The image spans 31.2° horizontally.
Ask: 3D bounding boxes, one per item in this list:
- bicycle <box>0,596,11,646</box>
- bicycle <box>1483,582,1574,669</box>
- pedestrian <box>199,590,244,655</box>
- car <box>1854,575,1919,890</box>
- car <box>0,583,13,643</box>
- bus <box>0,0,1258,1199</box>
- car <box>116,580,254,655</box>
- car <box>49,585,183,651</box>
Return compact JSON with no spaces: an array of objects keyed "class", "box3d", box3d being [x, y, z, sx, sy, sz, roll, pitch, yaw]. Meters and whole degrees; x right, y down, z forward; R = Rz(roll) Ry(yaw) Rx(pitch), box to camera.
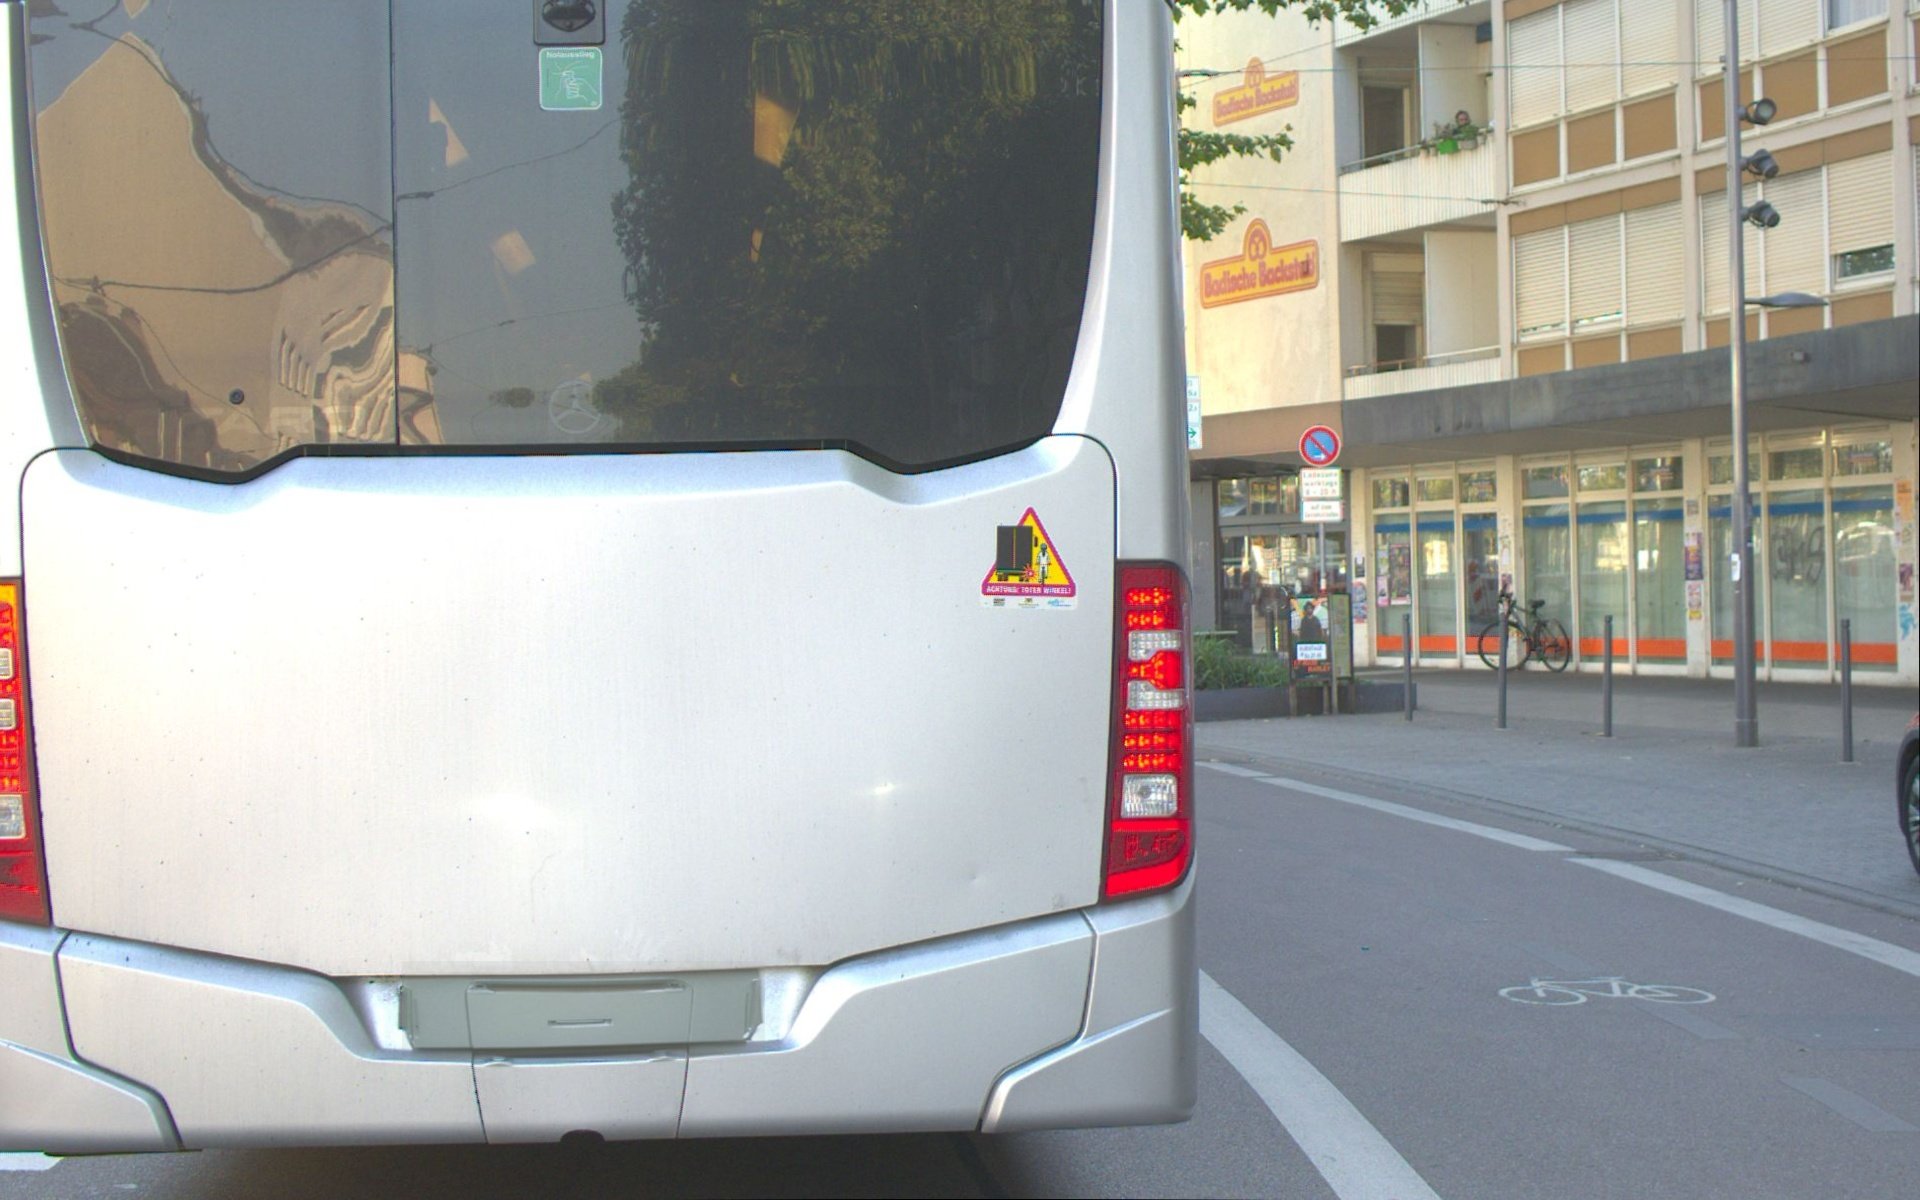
[{"class":"bicycle","box3d":[-23.535,0.511,83.933,0.507,1.207,2.093,-1,1,-21]},{"class":"bicycle","box3d":[7.332,0.323,44.384,0.437,1.089,1.462,-4,1,-20]},{"class":"pedestrian","box3d":[-14.831,0.449,69.013,0.777,1.299,0.594,-1,0,-21]},{"class":"car","box3d":[5.553,0.606,14.919,1.778,1.491,4.568,-3,1,-4]},{"class":"car","box3d":[-25.502,0.371,87.035,1.663,1.463,3.411,-5,3,-38]},{"class":"bus","box3d":[-1.026,-0.112,11.675,2.657,3.088,10.217,-1,0,-3]},{"class":"car","box3d":[-17.289,0.373,76.644,1.662,1.511,3.412,-5,3,-37]},{"class":"car","box3d":[-19.644,0.405,79.965,1.663,1.390,3.411,-5,3,-39]}]
